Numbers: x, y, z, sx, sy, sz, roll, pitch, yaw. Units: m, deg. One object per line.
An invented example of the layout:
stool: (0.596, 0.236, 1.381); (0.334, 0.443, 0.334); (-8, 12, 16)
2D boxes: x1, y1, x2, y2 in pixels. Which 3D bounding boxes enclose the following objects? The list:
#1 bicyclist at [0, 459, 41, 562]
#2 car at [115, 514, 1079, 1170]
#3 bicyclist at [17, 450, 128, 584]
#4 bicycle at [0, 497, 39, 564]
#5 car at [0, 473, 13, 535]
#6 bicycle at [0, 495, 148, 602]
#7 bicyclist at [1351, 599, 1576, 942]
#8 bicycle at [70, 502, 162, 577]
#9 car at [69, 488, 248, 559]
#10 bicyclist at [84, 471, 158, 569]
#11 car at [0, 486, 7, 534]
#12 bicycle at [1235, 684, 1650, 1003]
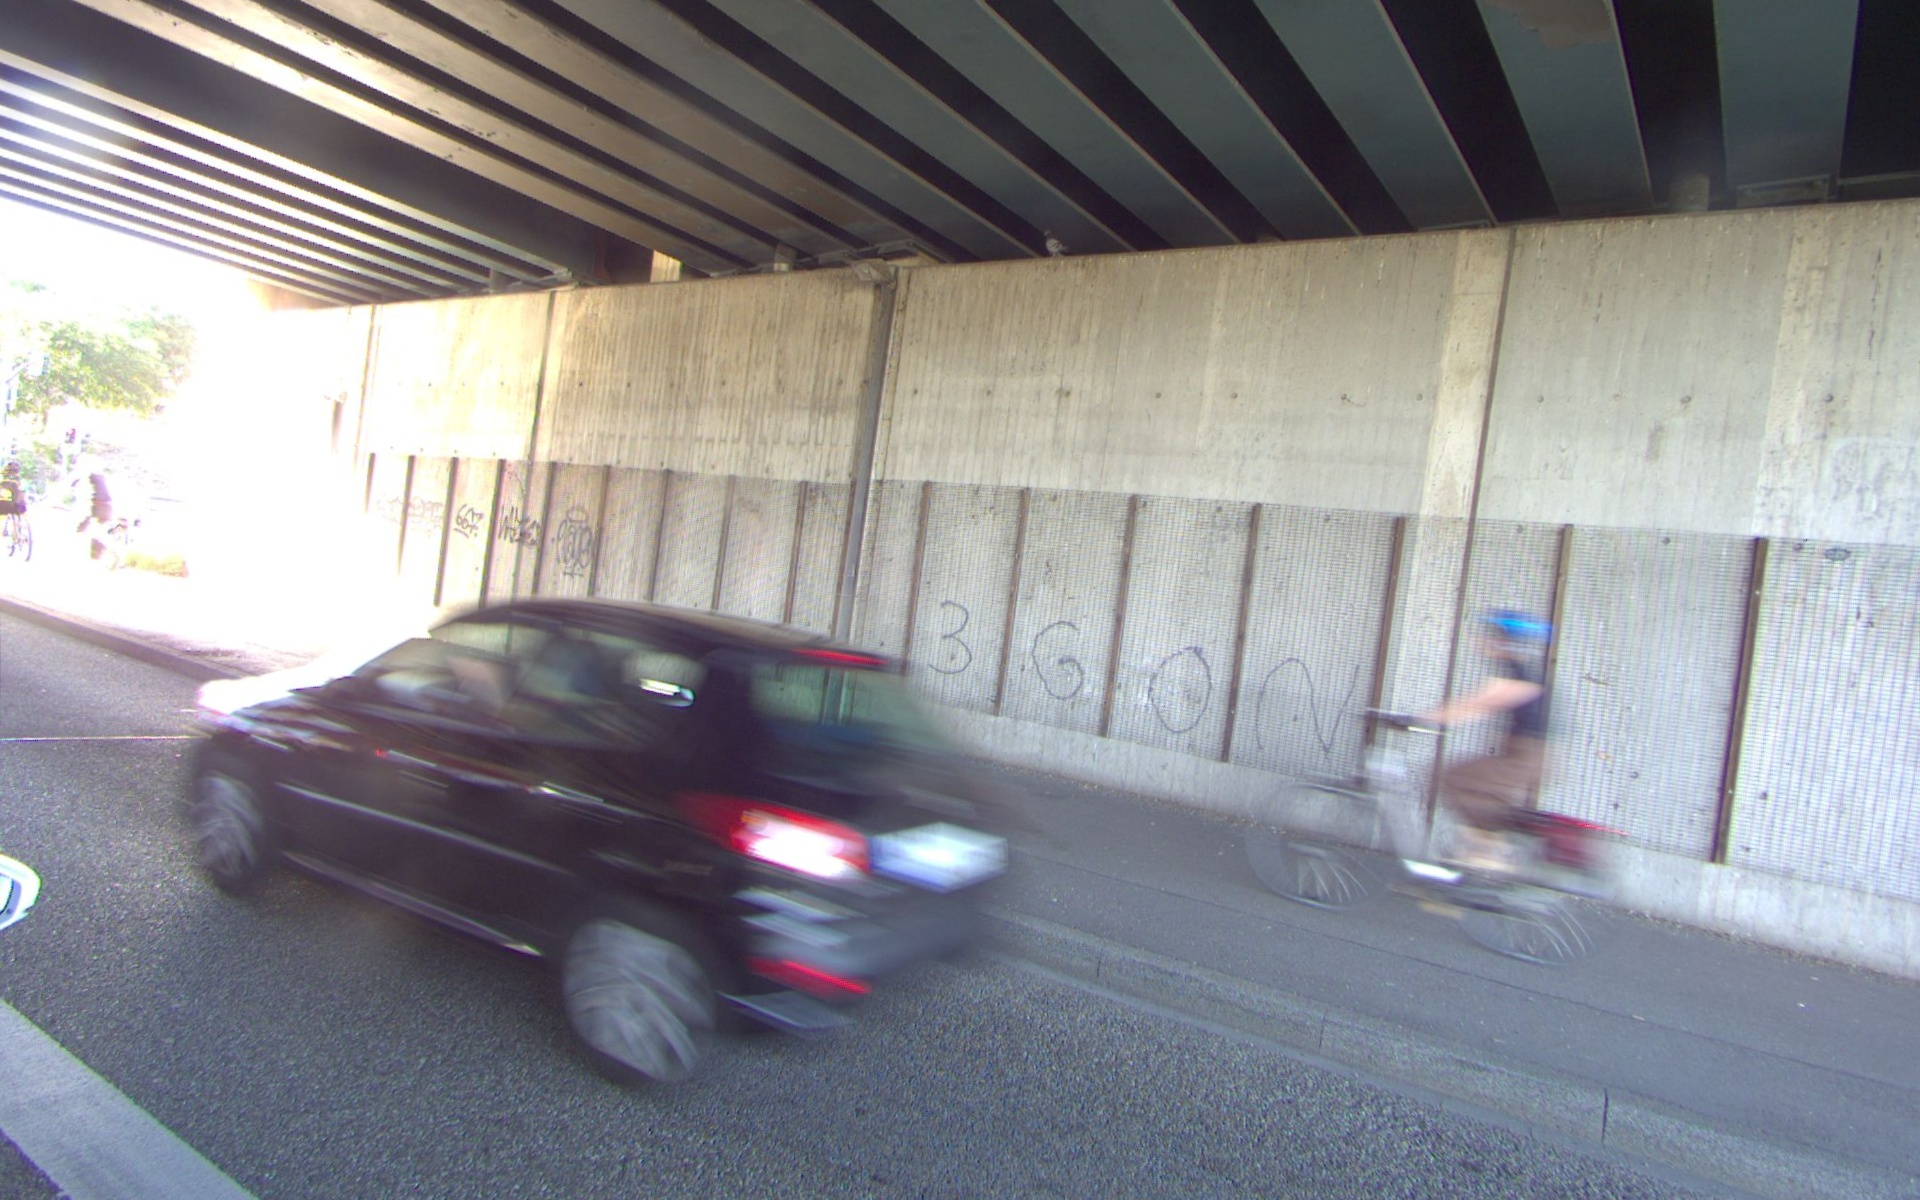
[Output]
bicyclist: (-16.135, -1.521, 17.005); (0.635, 1.647, 0.676); (6, -2, 42)
car: (-1.598, 0.633, 4.269); (3.653, 1.473, 1.750); (7, -2, 29)
bicyclist: (-12.142, -1.131, 13.769); (0.871, 1.674, 0.748); (7, -1, 31)
bicycle: (-16.197, -1.202, 17.020); (1.508, 1.036, 0.676); (6, -2, 43)
car: (-26.104, -2.712, 24.916); (1.781, 1.640, 4.102); (8, -2, -11)
bicycle: (-12.158, -0.721, 13.776); (2.428, 1.161, 0.766); (8, 2, 31)
bicyclist: (2.627, 0.828, 5.245); (0.833, 1.553, 0.653); (7, 1, 32)
bicycle: (-14.718, -1.064, 17.544); (1.577, 1.126, 0.682); (6, 0, 31)
car: (-25.069, -2.349, 31.616); (1.811, 1.480, 3.888); (7, -3, 27)
bicyclist: (-14.578, -1.390, 17.480); (0.723, 1.581, 0.670); (7, 0, 31)
car: (-11.890, -0.712, 10.307); (4.585, 1.473, 1.750); (7, -2, 30)
bicycle: (2.485, 1.169, 5.314); (1.749, 1.182, 0.651); (8, 2, 32)
